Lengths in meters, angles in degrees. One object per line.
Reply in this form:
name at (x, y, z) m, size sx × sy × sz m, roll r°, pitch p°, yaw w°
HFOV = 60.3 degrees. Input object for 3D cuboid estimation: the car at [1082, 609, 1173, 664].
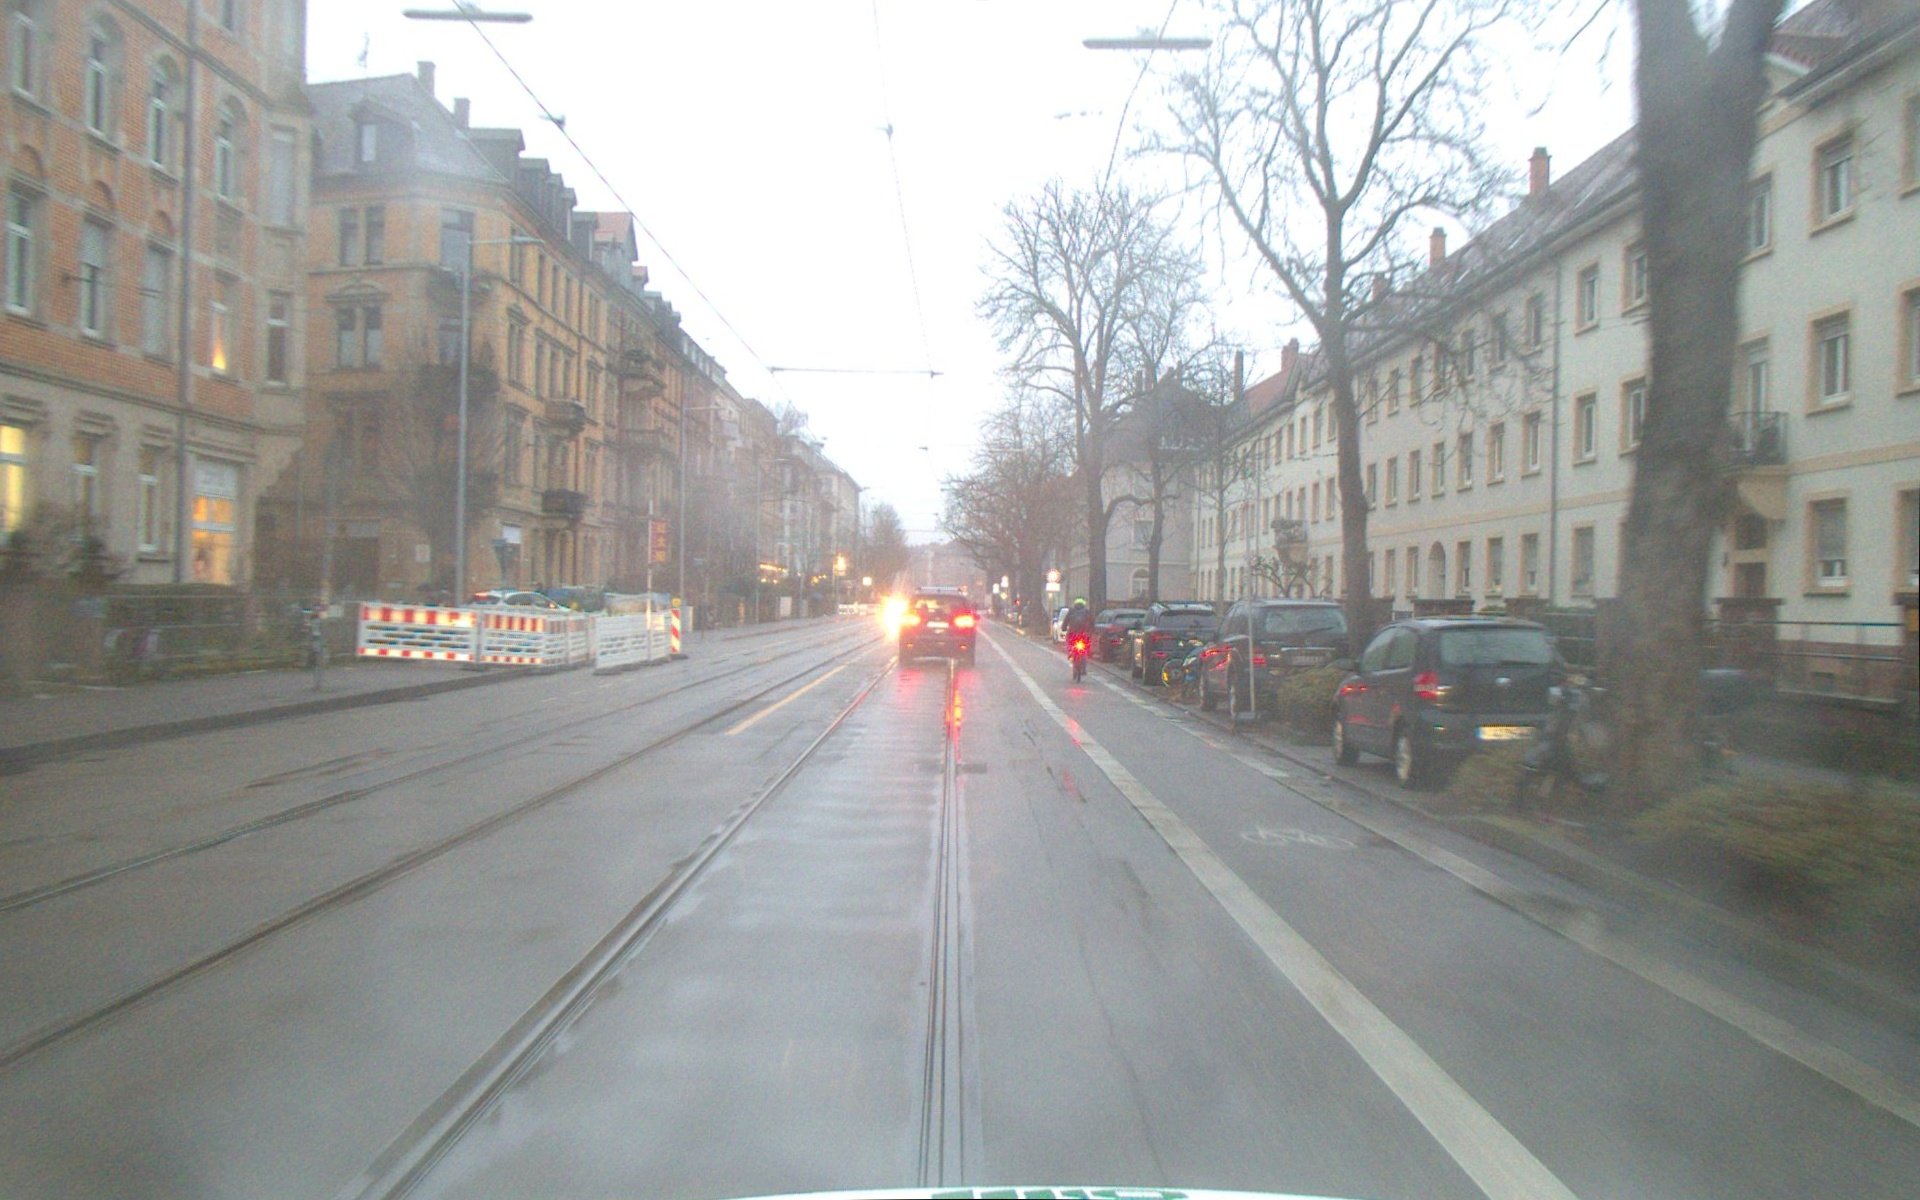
car at (4.686, 1.009, 46.843) m, size 1.842 × 1.444 × 4.340 m, roll -1°, pitch 0°, yaw -4°

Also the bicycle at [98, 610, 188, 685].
bicycle at (-10.847, 0.613, 22.005) m, size 0.258 × 0.931 × 1.685 m, roll 6°, pitch 0°, yaw 0°

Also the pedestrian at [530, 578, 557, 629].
pedestrian at (-15.050, 0.131, 59.797) m, size 0.712 × 1.804 × 0.762 m, roll 1°, pitch -1°, yaw -32°

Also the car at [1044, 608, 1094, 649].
car at (4.271, 1.096, 65.093) m, size 1.748 × 1.536 × 4.109 m, roll 1°, pitch 0°, yaw 1°

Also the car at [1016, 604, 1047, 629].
car at (4.443, 1.004, 102.885) m, size 1.749 × 1.536 × 4.108 m, roll 1°, pitch 0°, yaw 0°

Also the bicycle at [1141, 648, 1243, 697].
bicycle at (4.549, 1.412, 32.428) m, size 1.970 × 0.932 × 0.465 m, roll 0°, pitch 0°, yaw 8°

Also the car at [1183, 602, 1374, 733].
car at (4.700, 0.932, 25.109) m, size 1.867 × 1.758 × 4.901 m, roll 1°, pitch 0°, yaw -1°

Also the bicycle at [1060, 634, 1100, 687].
bicycle at (2.484, 1.244, 34.408) m, size 0.716 × 1.024 × 1.764 m, roll 1°, pitch 0°, yaw 1°

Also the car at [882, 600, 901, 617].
car at (-7.545, 0.932, 183.210) m, size 1.884 × 1.750 × 3.999 m, roll 1°, pitch 0°, yaw 0°

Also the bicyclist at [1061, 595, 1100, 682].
bicyclist at (2.501, 0.794, 34.382) m, size 0.715 × 1.767 × 0.765 m, roll 1°, pitch -1°, yaw 1°

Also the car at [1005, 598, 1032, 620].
car at (4.255, 0.664, 120.913) m, size 1.749 × 1.536 × 4.108 m, roll 1°, pitch 0°, yaw 0°

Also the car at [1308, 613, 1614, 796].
car at (4.752, 0.920, 16.283) m, size 1.749 × 1.536 × 3.987 m, roll 1°, pitch 0°, yaw -1°

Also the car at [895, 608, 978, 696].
car at (-0.531, 1.210, 40.314) m, size 1.765 × 1.903 × 4.018 m, roll 4°, pitch 0°, yaw 1°

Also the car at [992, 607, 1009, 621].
car at (4.377, 1.530, 179.782) m, size 1.749 × 1.536 × 4.108 m, roll 1°, pitch 0°, yaw 0°

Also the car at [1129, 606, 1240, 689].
car at (4.791, 0.977, 35.898) m, size 1.866 × 1.638 × 4.561 m, roll 1°, pitch 0°, yaw 1°
